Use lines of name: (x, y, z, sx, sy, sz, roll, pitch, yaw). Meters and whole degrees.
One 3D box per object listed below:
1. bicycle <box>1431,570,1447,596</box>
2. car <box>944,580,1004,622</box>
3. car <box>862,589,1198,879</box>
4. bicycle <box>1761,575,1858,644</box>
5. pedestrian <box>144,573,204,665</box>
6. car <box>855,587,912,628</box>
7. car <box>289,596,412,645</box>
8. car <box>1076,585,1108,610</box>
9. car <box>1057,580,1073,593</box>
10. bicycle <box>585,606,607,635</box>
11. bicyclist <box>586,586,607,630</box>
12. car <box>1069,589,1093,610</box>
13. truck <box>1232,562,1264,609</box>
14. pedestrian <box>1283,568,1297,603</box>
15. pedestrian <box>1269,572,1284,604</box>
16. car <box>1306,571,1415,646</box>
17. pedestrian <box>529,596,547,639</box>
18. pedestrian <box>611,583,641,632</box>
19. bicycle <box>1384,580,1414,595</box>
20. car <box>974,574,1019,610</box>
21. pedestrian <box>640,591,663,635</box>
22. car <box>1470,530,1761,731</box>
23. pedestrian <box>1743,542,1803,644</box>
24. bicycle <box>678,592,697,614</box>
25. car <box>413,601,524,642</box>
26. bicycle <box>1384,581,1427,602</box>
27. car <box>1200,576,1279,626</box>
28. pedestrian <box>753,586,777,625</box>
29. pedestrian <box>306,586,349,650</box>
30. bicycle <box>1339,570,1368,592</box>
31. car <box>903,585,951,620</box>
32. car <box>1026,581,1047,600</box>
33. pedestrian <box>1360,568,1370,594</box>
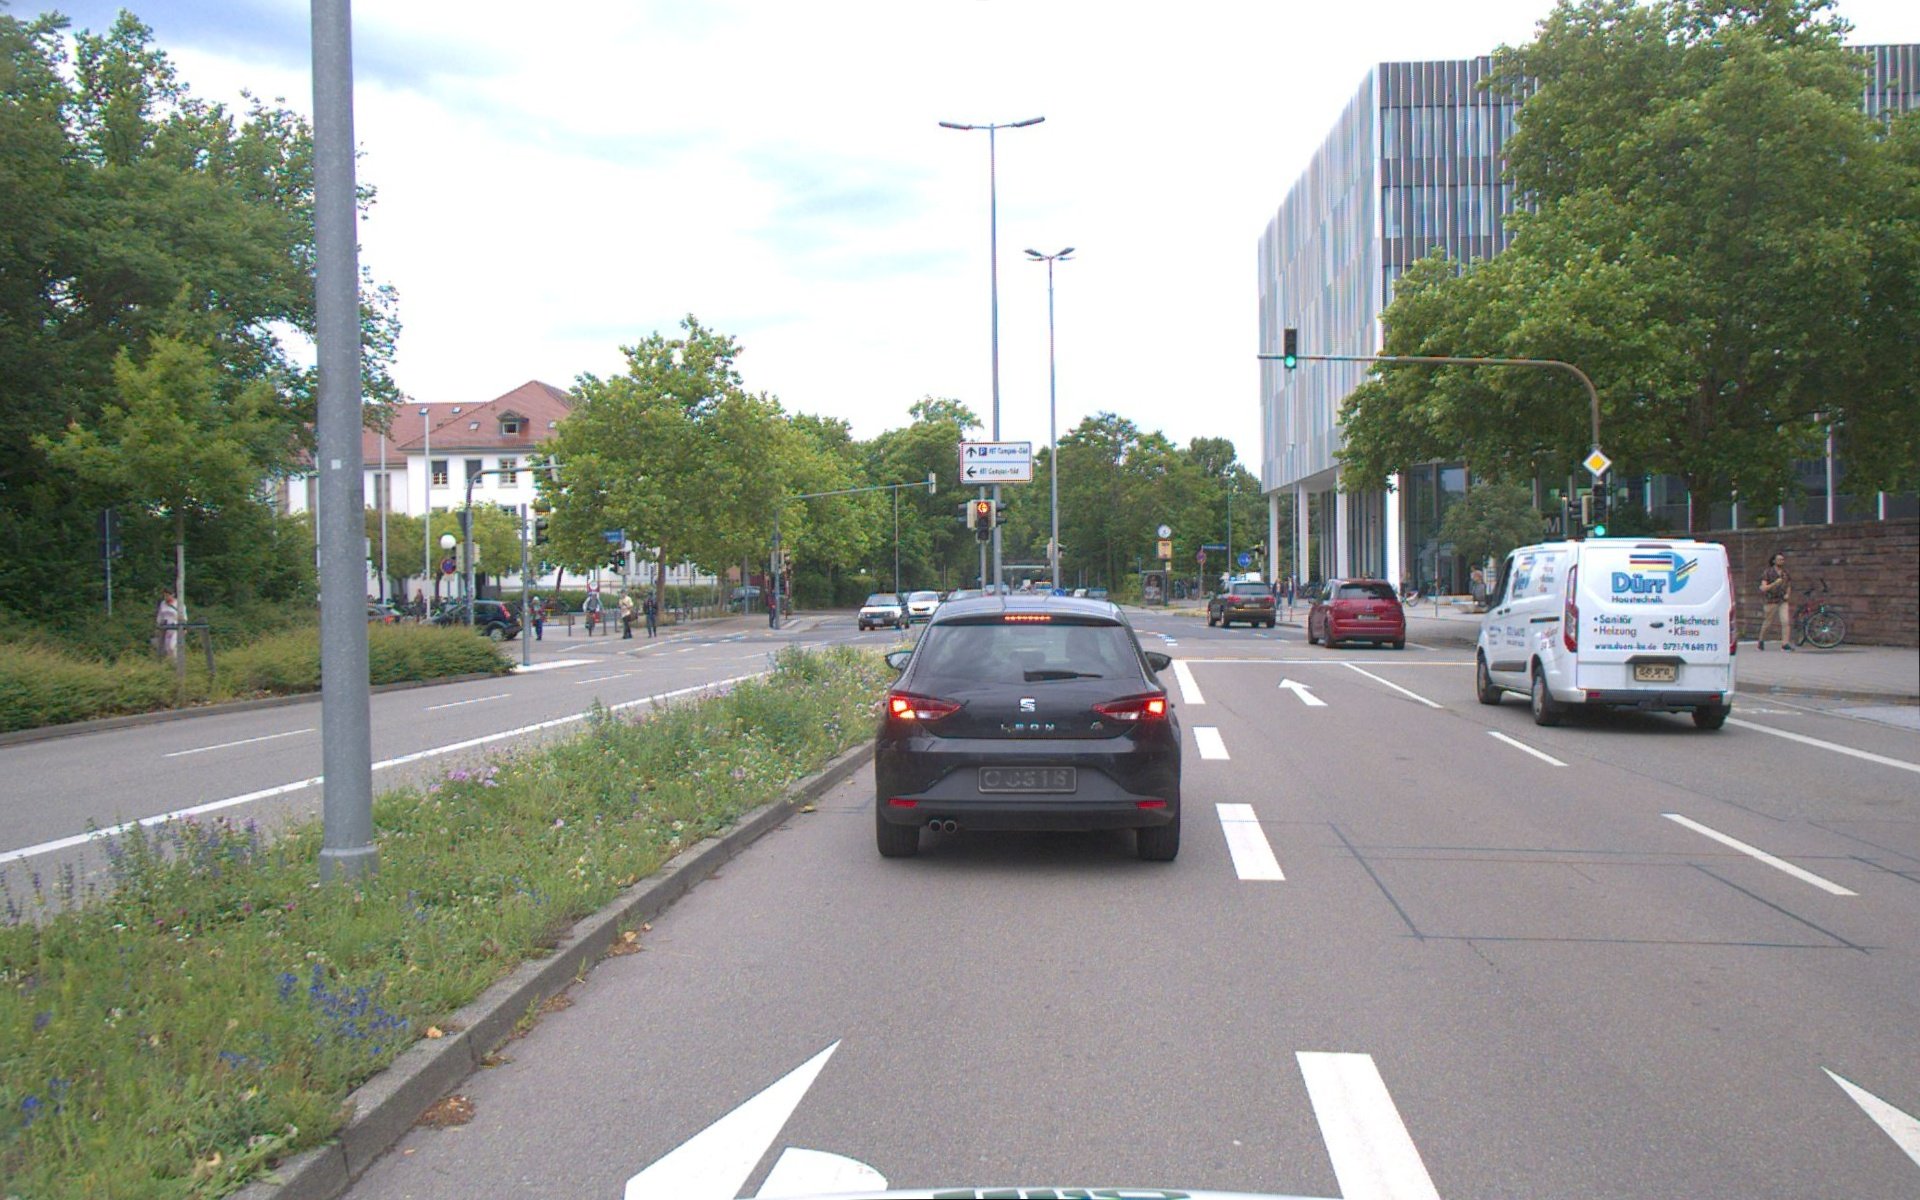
bicycle: (24.828, -0.873, 85.784, 0.516, 1.275, 1.665, -2, 1, 24)
car: (0.598, 0.031, 65.280, 1.726, 1.485, 4.795, -3, 0, 7)
car: (0.534, 0.665, 10.331, 1.716, 1.457, 3.772, 0, 0, 6)
bicycle: (15.986, 0.154, 31.179, 0.786, 1.194, 1.955, -4, 1, 1)
pedestrian: (-14.665, 0.342, 30.872, 0.685, 1.664, 0.672, -2, 1, 6)
car: (-2.927, 0.263, 63.782, 1.574, 1.405, 3.812, -3, 1, 6)
car: (-22.342, 0.742, 60.768, 3.978, 1.477, 1.620, -2, 6, -12)
car: (8.338, -0.178, 104.790, 1.859, 1.377, 3.884, -3, 1, 3)
car: (10.193, -1.326, 161.285, 1.474, 1.214, 3.164, -3, 1, 3)
bicycle: (-13.826, 0.766, 62.846, 0.653, 1.081, 1.617, 0, 0, -6)
bicyclist: (-13.826, 0.318, 62.942, 0.653, 1.664, 0.960, 0, 0, -6)
car: (8.900, -0.074, 121.760, 1.582, 1.377, 4.002, -3, 1, 3)
truck: (14.642, -0.756, 84.139, 1.290, 2.282, 3.404, -2, 1, 6)
pedestrian: (17.209, -0.767, 86.281, 0.672, 1.812, 0.678, -1, 1, 6)
pedestrian: (16.509, -0.641, 86.284, 0.672, 1.668, 0.633, 0, 1, 6)
car: (9.363, 0.157, 38.916, 1.908, 1.652, 3.751, 0, 1, 4)
pedestrian: (-15.571, 0.651, 61.023, 0.561, 1.553, 0.845, -1, -4, -17)
pedestrian: (-12.307, 0.277, 60.887, 0.830, 1.770, 0.823, 0, -4, -29)
bicycle: (24.200, -0.681, 91.197, 1.448, 0.761, 0.566, -3, 1, 3)
car: (1.894, -0.400, 84.514, 1.880, 1.693, 4.402, -3, 0, 6)
pedestrian: (-11.392, 0.481, 61.045, 0.776, 1.585, 0.696, -1, -3, -14)
car: (7.313, 0.264, 18.951, 1.925, 2.006, 4.347, 1, 1, 5)
pedestrian: (15.080, -0.138, 30.711, 0.618, 1.853, 1.033, -2, 1, 6)
bicycle: (-14.060, 0.135, 85.222, 0.595, 1.078, 2.044, -3, 1, 0)
car: (-18.171, 0.784, 61.297, 3.580, 1.244, 1.565, -1, 8, 0)
bicycle: (21.002, -0.400, 77.963, 1.855, 0.914, 0.695, -3, 1, -15)
car: (10.162, -0.001, 60.484, 1.877, 1.693, 4.111, -3, 1, -4)
pedestrian: (-8.352, 0.246, 70.838, 0.856, 1.613, 0.543, -3, 1, -1)
pedestrian: (-17.875, 0.508, 46.721, 0.933, 1.790, 0.864, 0, 0, -38)
bicycle: (23.645, -1.151, 99.349, 1.752, 1.232, 0.565, -3, 1, -28)
car: (-1.533, 0.085, 78.085, 1.669, 1.456, 4.231, -3, 1, 6)
car: (6.924, -0.874, 149.458, 1.661, 1.530, 4.010, -3, 1, 0)
pedestrian: (22.134, -1.049, 90.442, 0.462, 1.385, 0.446, -2, 1, 16)
